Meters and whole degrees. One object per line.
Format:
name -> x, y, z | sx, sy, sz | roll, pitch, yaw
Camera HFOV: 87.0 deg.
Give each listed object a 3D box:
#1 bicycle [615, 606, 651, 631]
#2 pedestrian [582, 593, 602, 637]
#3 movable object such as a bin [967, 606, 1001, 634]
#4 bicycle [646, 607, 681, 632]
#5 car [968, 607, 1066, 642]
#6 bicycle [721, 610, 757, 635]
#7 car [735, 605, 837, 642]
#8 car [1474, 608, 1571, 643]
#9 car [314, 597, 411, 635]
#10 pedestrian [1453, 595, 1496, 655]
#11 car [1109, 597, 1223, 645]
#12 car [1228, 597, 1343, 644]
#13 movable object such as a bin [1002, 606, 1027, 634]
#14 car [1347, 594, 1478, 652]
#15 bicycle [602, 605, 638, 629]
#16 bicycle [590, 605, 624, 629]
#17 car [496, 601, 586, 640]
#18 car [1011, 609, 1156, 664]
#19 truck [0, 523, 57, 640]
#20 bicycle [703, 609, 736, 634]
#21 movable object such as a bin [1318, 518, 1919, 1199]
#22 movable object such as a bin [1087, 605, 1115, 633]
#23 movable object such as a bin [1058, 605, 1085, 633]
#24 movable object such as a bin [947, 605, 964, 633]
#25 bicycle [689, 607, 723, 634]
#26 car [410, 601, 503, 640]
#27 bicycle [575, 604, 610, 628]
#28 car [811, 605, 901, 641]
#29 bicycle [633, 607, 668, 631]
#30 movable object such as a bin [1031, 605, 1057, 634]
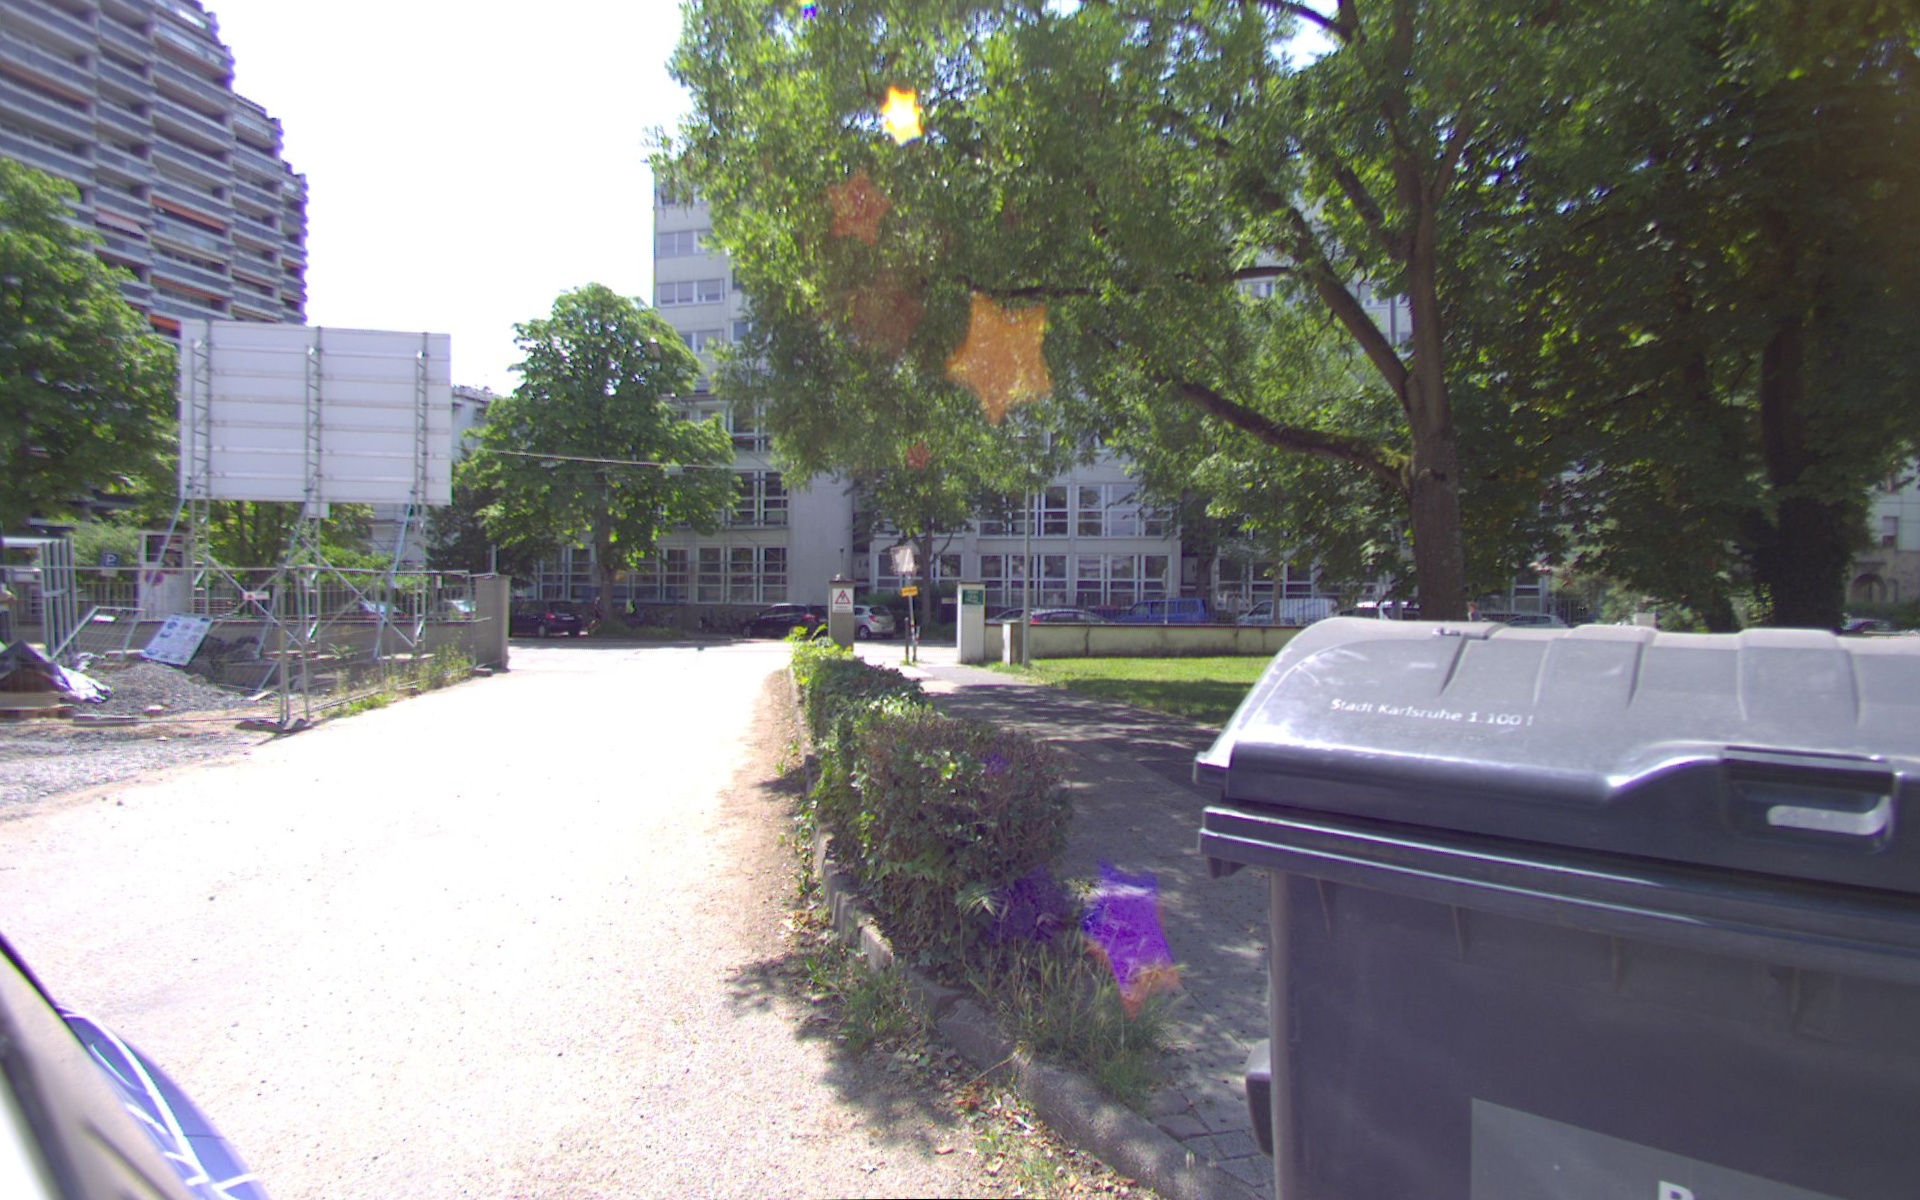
bicycle -> -15.619, 0.875, 48.366 | 0.564, 1.139, 1.931 | 0, -1, 20
pedestrian -> -15.923, 0.631, 43.769 | 0.570, 1.889, 0.715 | 0, -1, 3
movable object such as a bin -> 1.166, 0.960, 49.312 | 1.429, 1.340, 1.128 | 0, -1, -9
bicycle -> -13.965, 0.916, 47.753 | 0.564, 1.139, 1.931 | 0, -1, 20
car -> 2.459, 1.039, 44.125 | 3.969, 1.424, 1.696 | 0, -1, 33
bicycle -> -10.350, 1.051, 47.401 | 0.564, 1.139, 2.220 | 0, -1, 20
car -> -7.335, 0.947, 42.529 | 4.185, 1.481, 1.734 | 0, -1, 33
car -> 27.435, 1.197, 49.382 | 3.988, 1.397, 1.731 | 3, 3, 33
car -> -23.145, 0.598, 39.184 | 4.010, 1.383, 1.612 | 0, 0, 33
pedestrian -> 13.616, 0.655, 26.802 | 0.732, 1.579, 0.699 | 0, 0, -13
car -> 9.133, 0.888, 44.992 | 4.618, 2.029, 1.977 | 0, -1, 34
car -> 14.889, 0.898, 46.426 | 4.629, 2.029, 1.972 | 0, -1, 42
movable object such as a bin -> 2.679, 0.968, 49.650 | 1.060, 1.340, 0.973 | 0, -1, -9
car -> 15.594, 0.776, 34.926 | 3.934, 1.868, 1.523 | 0, 3, -12
bicycle -> -16.318, 0.809, 48.619 | 0.564, 1.139, 1.915 | 0, -1, 20
bicycle -> -17.034, 0.798, 48.894 | 0.563, 1.139, 1.917 | 0, -1, 17
car -> -16.760, 0.798, 40.467 | 3.565, 1.528, 1.632 | 0, 0, 33
car -> 3.416, 1.040, 28.212 | 3.663, 1.468, 1.593 | 1, -3, -14
truck -> -38.025, -0.660, 36.249 | 9.624, 4.036, 2.746 | 0, 0, 6
bicycle -> -11.217, 0.991, 47.252 | 0.564, 1.139, 1.931 | 0, -1, 20
movable object such as a bin -> 1.201, 0.640, 1.201 | 1.160, 1.404, 1.101 | 0, -1, 40
movable object such as a bin -> 7.022, 0.953, 50.399 | 1.164, 1.409, 1.038 | 0, -1, -3
movable object such as a bin -> 5.526, 0.948, 50.213 | 1.164, 1.409, 1.038 | 0, -1, -3
movable object such as a bin -> -0.208, 0.940, 50.435 | 0.793, 1.416, 0.766 | 0, -1, 3
bicycle -> -11.968, 0.952, 47.700 | 0.564, 1.247, 1.931 | 0, -1, 20
car -> -19.827, 0.781, 39.770 | 4.018, 1.474, 1.796 | 0, 0, 39
bicycle -> -17.797, 0.771, 49.018 | 0.563, 1.139, 1.917 | 0, -1, 17
car -> -4.443, 0.952, 43.152 | 3.529, 1.473, 1.734 | 0, -1, 33
bicycle -> -14.682, 0.901, 48.077 | 0.564, 1.139, 1.931 | 0, -1, 20
movable object such as a bin -> 4.141, 0.943, 50.035 | 1.164, 1.409, 1.038 | 0, -1, -3
